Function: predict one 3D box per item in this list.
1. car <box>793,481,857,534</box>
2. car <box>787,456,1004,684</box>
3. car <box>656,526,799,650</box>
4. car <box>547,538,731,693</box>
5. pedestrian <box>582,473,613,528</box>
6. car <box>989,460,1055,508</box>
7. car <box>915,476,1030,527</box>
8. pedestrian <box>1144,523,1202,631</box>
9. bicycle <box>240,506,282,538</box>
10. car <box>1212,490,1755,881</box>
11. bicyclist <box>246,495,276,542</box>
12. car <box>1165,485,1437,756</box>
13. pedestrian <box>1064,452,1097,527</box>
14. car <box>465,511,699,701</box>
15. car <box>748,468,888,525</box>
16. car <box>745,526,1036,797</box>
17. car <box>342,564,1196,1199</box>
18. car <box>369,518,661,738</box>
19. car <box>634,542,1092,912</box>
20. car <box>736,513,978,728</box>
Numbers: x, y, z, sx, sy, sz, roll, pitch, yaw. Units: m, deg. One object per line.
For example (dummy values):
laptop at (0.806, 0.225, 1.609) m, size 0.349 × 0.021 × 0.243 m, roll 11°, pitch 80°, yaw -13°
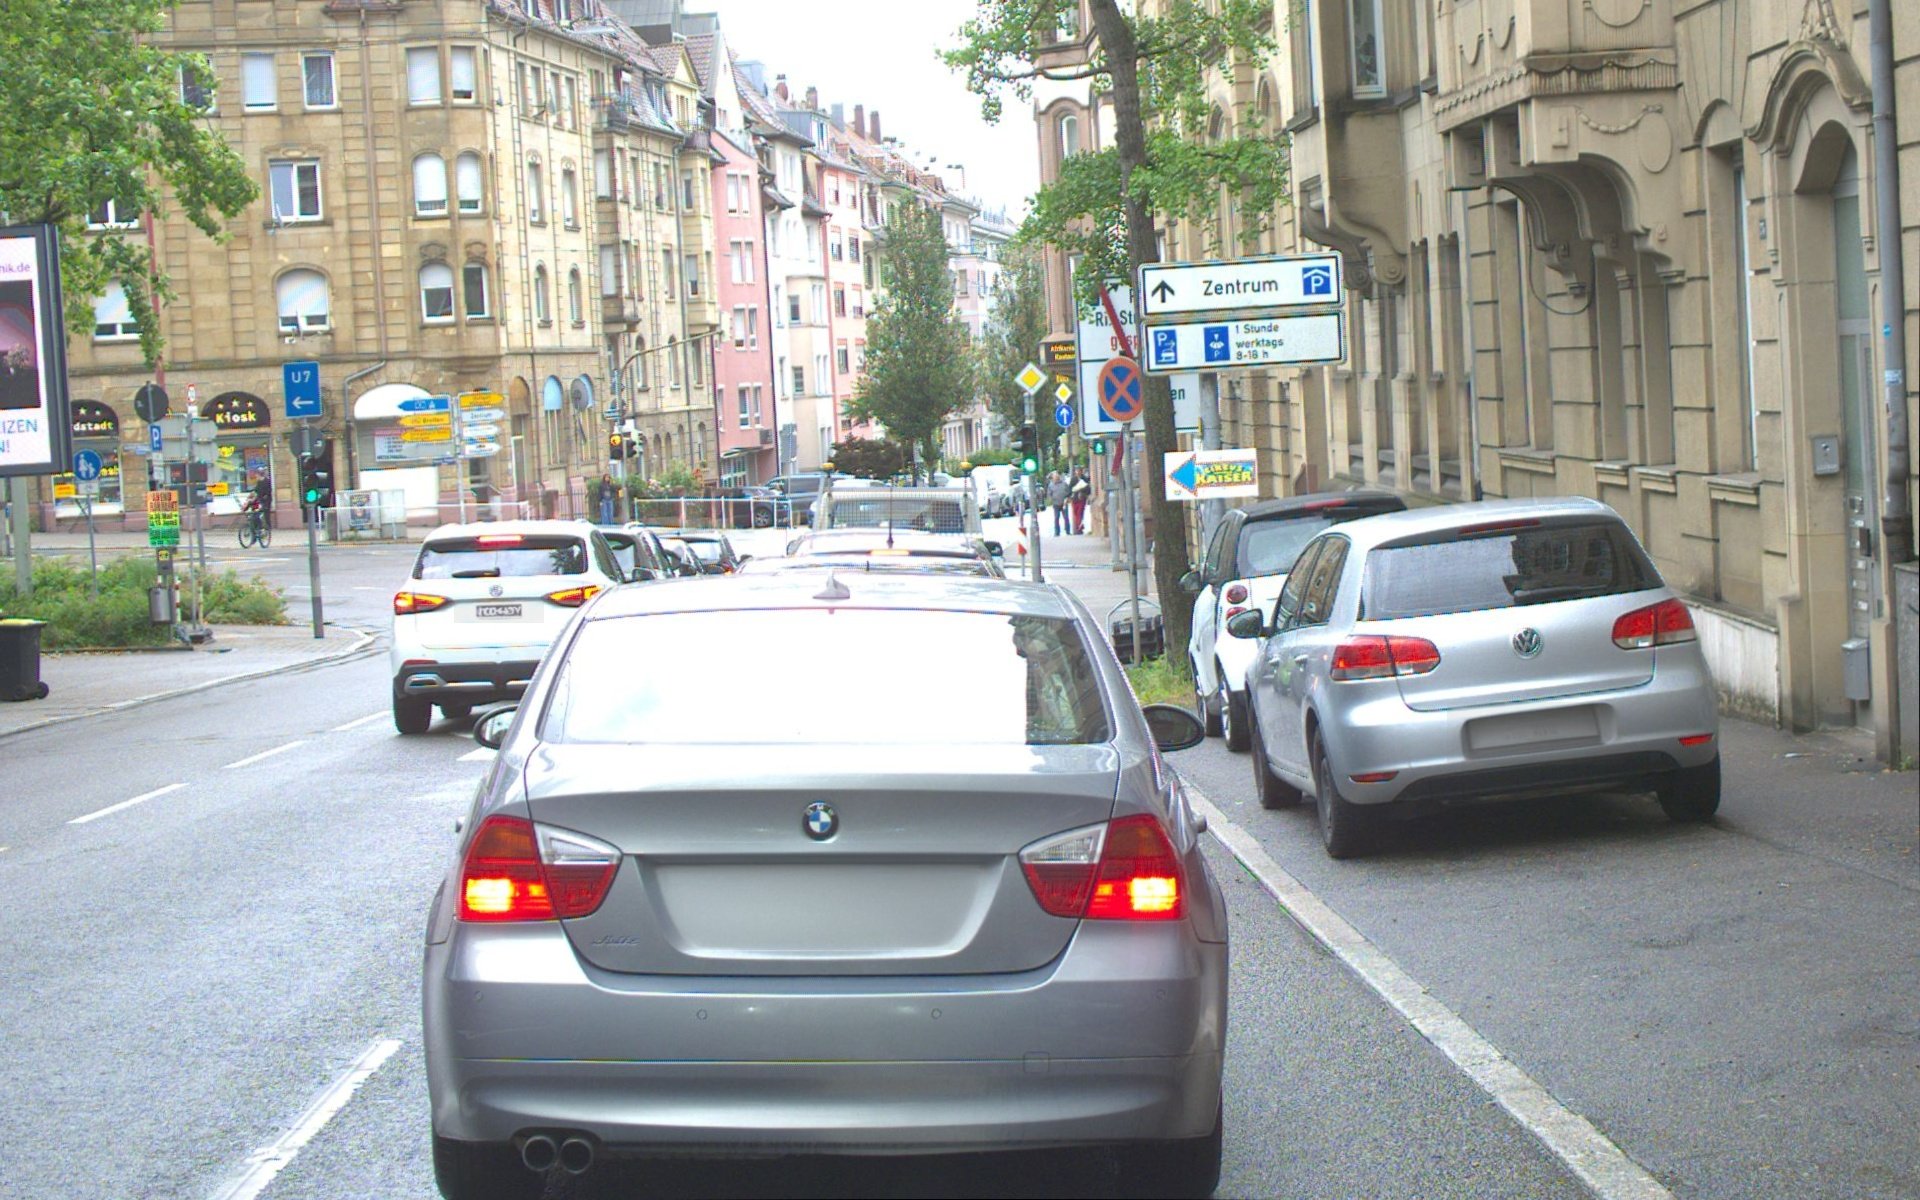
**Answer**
car at (-3.884, -2.676, 99.287) m, size 1.715 × 1.445 × 3.743 m, roll -2°, pitch 1°, yaw -1°
car at (-0.614, -0.309, 33.786) m, size 1.993 × 2.099 × 4.000 m, roll 0°, pitch 1°, yaw -1°
car at (-3.348, -0.209, 50.131) m, size 1.759 × 1.702 × 4.000 m, roll -1°, pitch 1°, yaw 1°
car at (-3.774, 0.139, 40.970) m, size 1.759 × 1.702 × 4.000 m, roll -1°, pitch 1°, yaw 1°
pedestrian at (-10.679, -2.927, 101.227) m, size 0.732 × 1.572 × 0.528 m, roll -2°, pitch 1°, yaw 8°
car at (2.200, -4.064, 120.763) m, size 1.994 × 1.573 × 3.999 m, roll 1°, pitch 1°, yaw 5°
car at (0.423, -3.266, 114.138) m, size 1.997 × 1.573 × 3.993 m, roll 1°, pitch 1°, yaw 32°
pedestrian at (3.097, -0.335, 50.076) m, size 0.631 × 1.503 × 0.693 m, roll -6°, pitch 1°, yaw -1°
bicycle at (-19.228, -2.142, 94.587) m, size 0.573 × 0.855 × 1.521 m, roll 1°, pitch 1°, yaw 11°
car at (2.325, 0.310, 16.291) m, size 1.759 × 1.446 × 4.000 m, roll -6°, pitch 1°, yaw -1°
bicyclist at (-19.231, -2.244, 94.577) m, size 0.569 × 1.268 × 0.689 m, roll 1°, pitch 0°, yaw 11°
car at (2.194, 0.093, 22.701) m, size 1.299 × 1.537 × 2.976 m, roll -6°, pitch 1°, yaw -1°
pedestrian at (3.130, -2.869, 89.424) m, size 0.742 × 1.903 × 0.659 m, roll -2°, pitch 1°, yaw -1°
car at (-3.585, 0.003, 33.205) m, size 1.759 × 1.702 × 4.000 m, roll -1°, pitch 1°, yaw 1°
car at (-5.325, -3.894, 129.629) m, size 5.176 × 2.007 × 2.699 m, roll 1°, pitch 0°, yaw -1°
car at (-0.362, 0.295, 20.865) m, size 1.595 × 1.459 × 4.000 m, roll 0°, pitch 1°, yaw 1°
car at (-0.348, 0.640, 8.412) m, size 1.623 × 1.378 × 3.615 m, roll -1°, pitch 1°, yaw 1°
car at (-3.499, 0.166, 27.708) m, size 1.868 × 1.620 × 4.000 m, roll -1°, pitch 1°, yaw -1°
car at (-0.358, 0.461, 15.347) m, size 1.759 × 1.378 × 4.000 m, roll -1°, pitch 1°, yaw 1°
car at (-0.751, 0.103, 27.473) m, size 1.759 × 1.562 × 4.000 m, roll -1°, pitch 1°, yaw 1°
